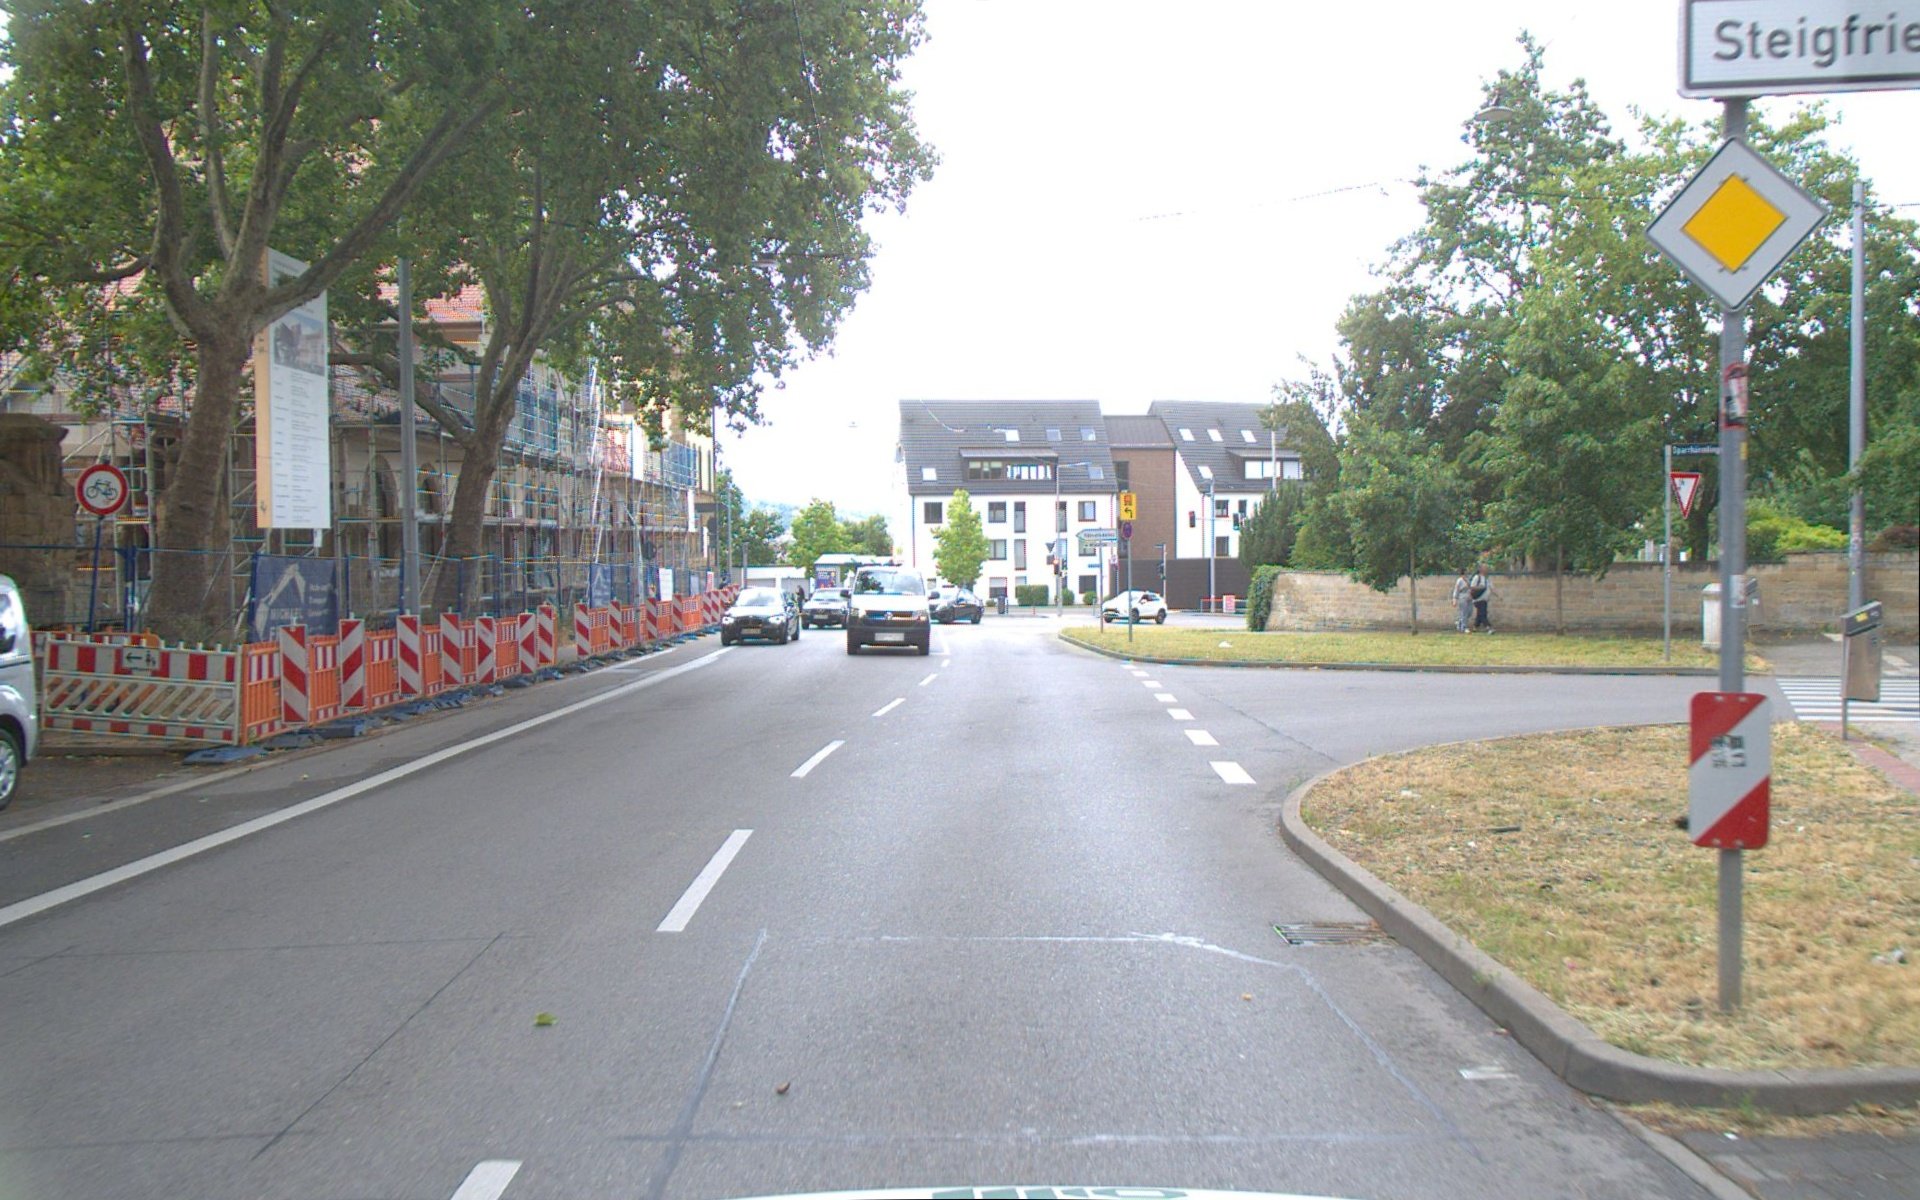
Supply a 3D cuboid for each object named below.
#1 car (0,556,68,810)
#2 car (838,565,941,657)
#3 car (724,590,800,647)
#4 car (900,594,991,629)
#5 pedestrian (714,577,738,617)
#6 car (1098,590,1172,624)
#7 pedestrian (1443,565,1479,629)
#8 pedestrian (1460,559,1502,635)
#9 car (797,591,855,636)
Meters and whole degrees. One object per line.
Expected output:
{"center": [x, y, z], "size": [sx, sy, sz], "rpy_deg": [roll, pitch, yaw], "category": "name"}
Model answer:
{"center": [-8.096, 0.648, 11.156], "size": [1.797, 1.909, 4.415], "rpy_deg": [-1, 0, -1], "category": "car"}
{"center": [-1.536, 0.223, 38.143], "size": [2.160, 1.965, 5.240], "rpy_deg": [0, 0, 0], "category": "car"}
{"center": [-5.277, 0.455, 44.527], "size": [1.665, 1.451, 4.248], "rpy_deg": [0, 0, -2], "category": "car"}
{"center": [-0.596, 0.467, 70.840], "size": [1.672, 1.451, 4.230], "rpy_deg": [0, 0, 38], "category": "car"}
{"center": [-10.402, -0.111, 73.628], "size": [0.904, 1.750, 0.799], "rpy_deg": [1, -1, 1], "category": "pedestrian"}
{"center": [9.340, 0.393, 87.992], "size": [1.763, 1.639, 4.486], "rpy_deg": [0, -3, 39], "category": "car"}
{"center": [12.815, -0.074, 42.303], "size": [0.573, 1.612, 0.569], "rpy_deg": [-4, 1, -30], "category": "pedestrian"}
{"center": [12.394, -0.075, 39.321], "size": [0.704, 1.764, 0.653], "rpy_deg": [-1, 1, -35], "category": "pedestrian"}
{"center": [-4.600, 0.433, 57.223], "size": [1.765, 1.483, 4.634], "rpy_deg": [0, 0, -2], "category": "car"}
